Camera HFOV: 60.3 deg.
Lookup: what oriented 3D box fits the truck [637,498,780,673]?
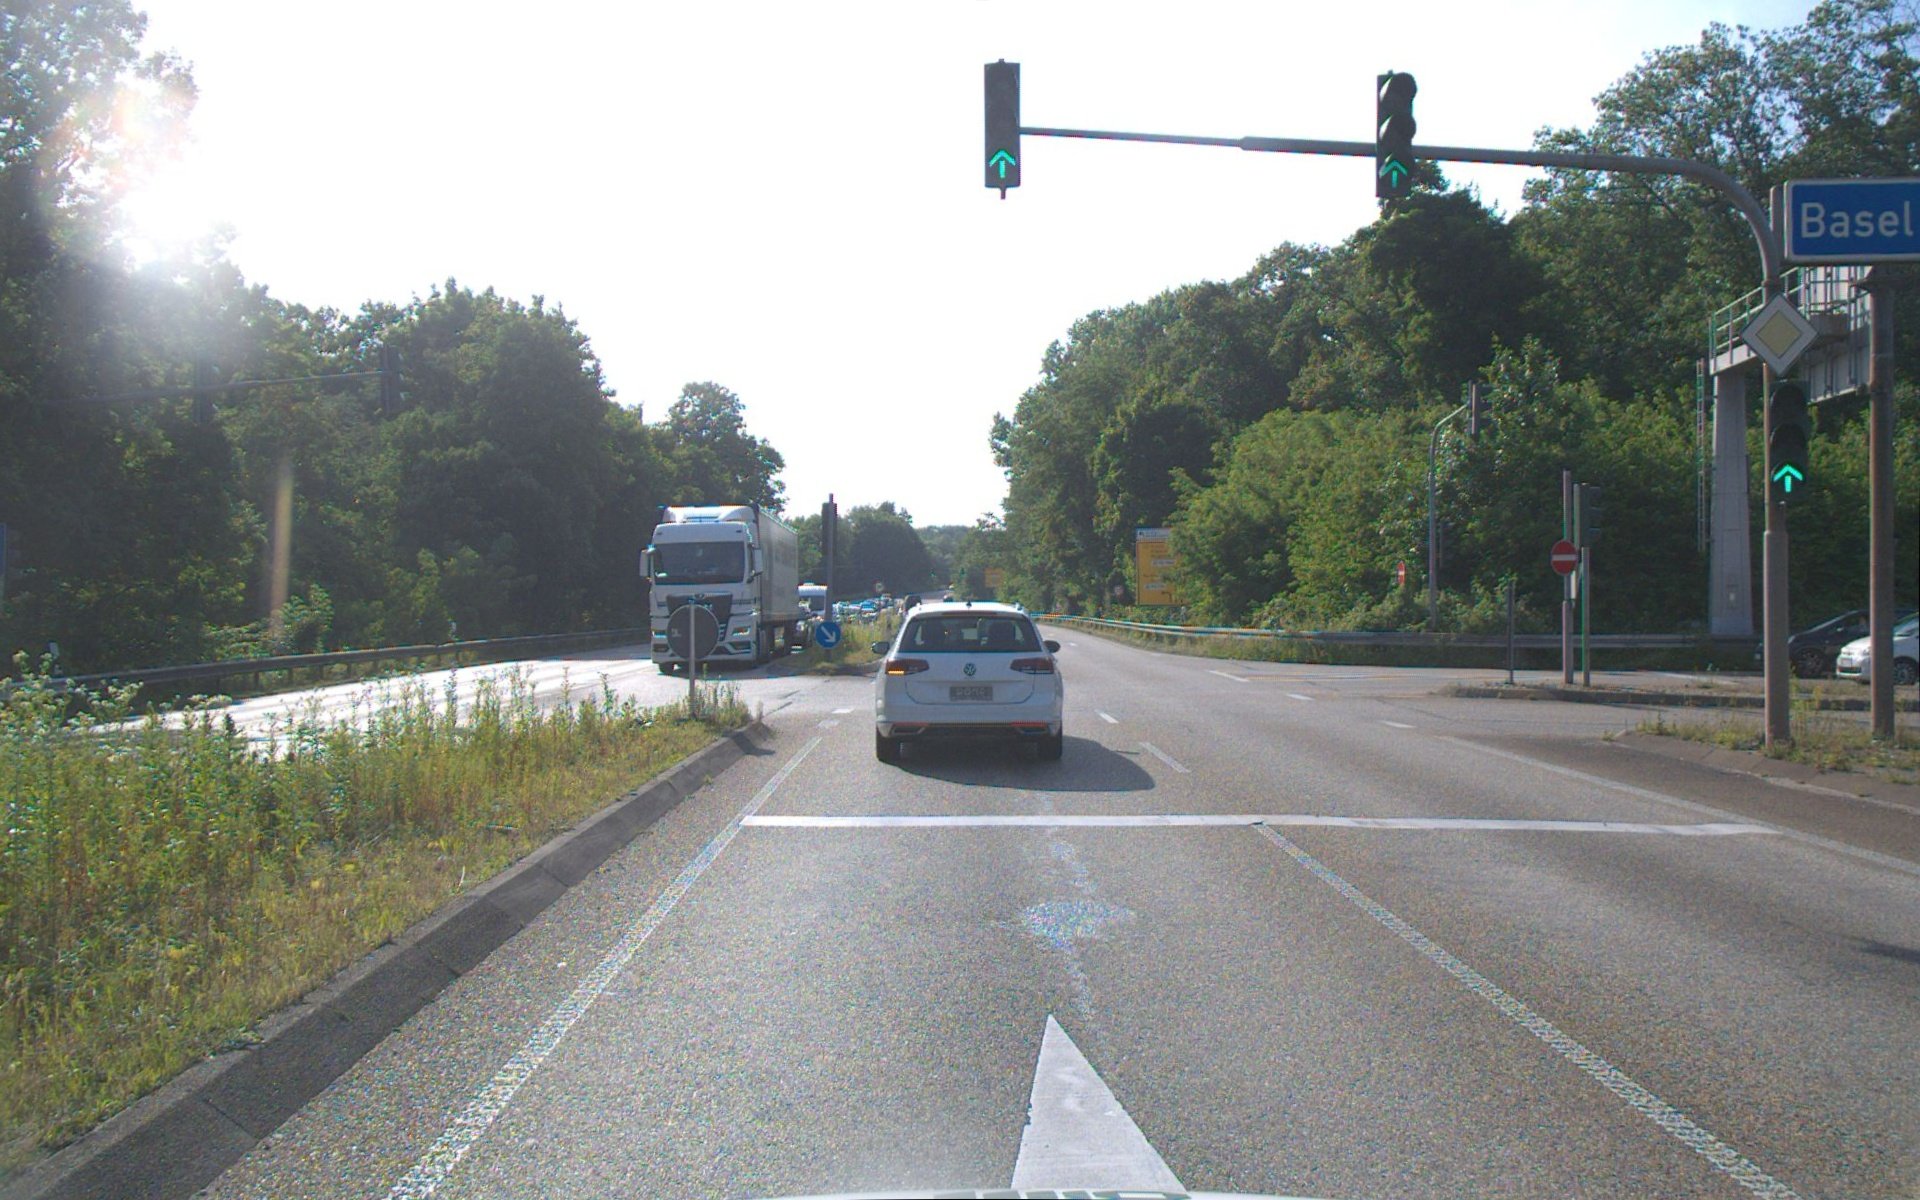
[{"bbox_3d":[-6.228,-0.343,41.937,2.833,4.067,6.718,0,0,-2],"label":"truck"}]

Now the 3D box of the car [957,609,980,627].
[{"bbox_3d":[0.796,1.633,149.094,1.710,1.564,3.922,1,0,-5],"label":"car"}]

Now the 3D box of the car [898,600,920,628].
[{"bbox_3d":[-5.461,1.468,178.662,2.165,2.939,7.009,-2,0,-1],"label":"car"}]

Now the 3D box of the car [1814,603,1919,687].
[{"bbox_3d":[18.519,0.842,31.556,3.522,1.529,1.809,0,0,3],"label":"car"}]

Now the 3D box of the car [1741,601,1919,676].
[{"bbox_3d":[19.041,0.801,35.399,4.024,1.522,1.786,0,0,19],"label":"car"}]

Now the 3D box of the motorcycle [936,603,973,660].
[{"bbox_3d":[-0.135,0.864,46.655,0.890,1.478,2.689,-4,0,1],"label":"motorcycle"}]

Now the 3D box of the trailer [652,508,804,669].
[{"bbox_3d":[-6.500,-0.294,48.670,2.931,4.066,14.008,0,0,-2],"label":"trailer"}]

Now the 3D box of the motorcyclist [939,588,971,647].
[{"bbox_3d":[-0.141,0.486,46.658,0.865,1.644,1.290,1,0,1],"label":"motorcyclist"}]

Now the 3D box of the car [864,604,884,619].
[{"bbox_3d":[-8.756,1.201,168.744,1.830,1.442,4.415,-2,0,-1],"label":"car"}]

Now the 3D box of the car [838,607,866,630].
[{"bbox_3d":[-7.300,1.209,111.936,1.672,1.448,4.210,-2,0,-1],"label":"car"}]

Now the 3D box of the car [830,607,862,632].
[{"bbox_3d":[-7.217,1.214,104.938,1.735,1.448,5.191,-2,0,-1],"label":"car"}]

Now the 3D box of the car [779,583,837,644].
[{"bbox_3d":[-6.828,0.581,74.893,2.033,2.578,6.162,-2,0,-1],"label":"car"}]

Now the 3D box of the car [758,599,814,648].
[{"bbox_3d":[-6.177,0.806,59.033,1.666,1.660,4.369,-2,0,-2],"label":"car"}]

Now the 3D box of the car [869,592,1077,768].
[{"bbox_3d":[0.068,0.704,17.003,1.832,1.548,4.833,0,0,-1],"label":"car"}]

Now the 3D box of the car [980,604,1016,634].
[{"bbox_3d":[1.884,0.939,83.188,1.725,1.404,3.971,0,0,0],"label":"car"}]
